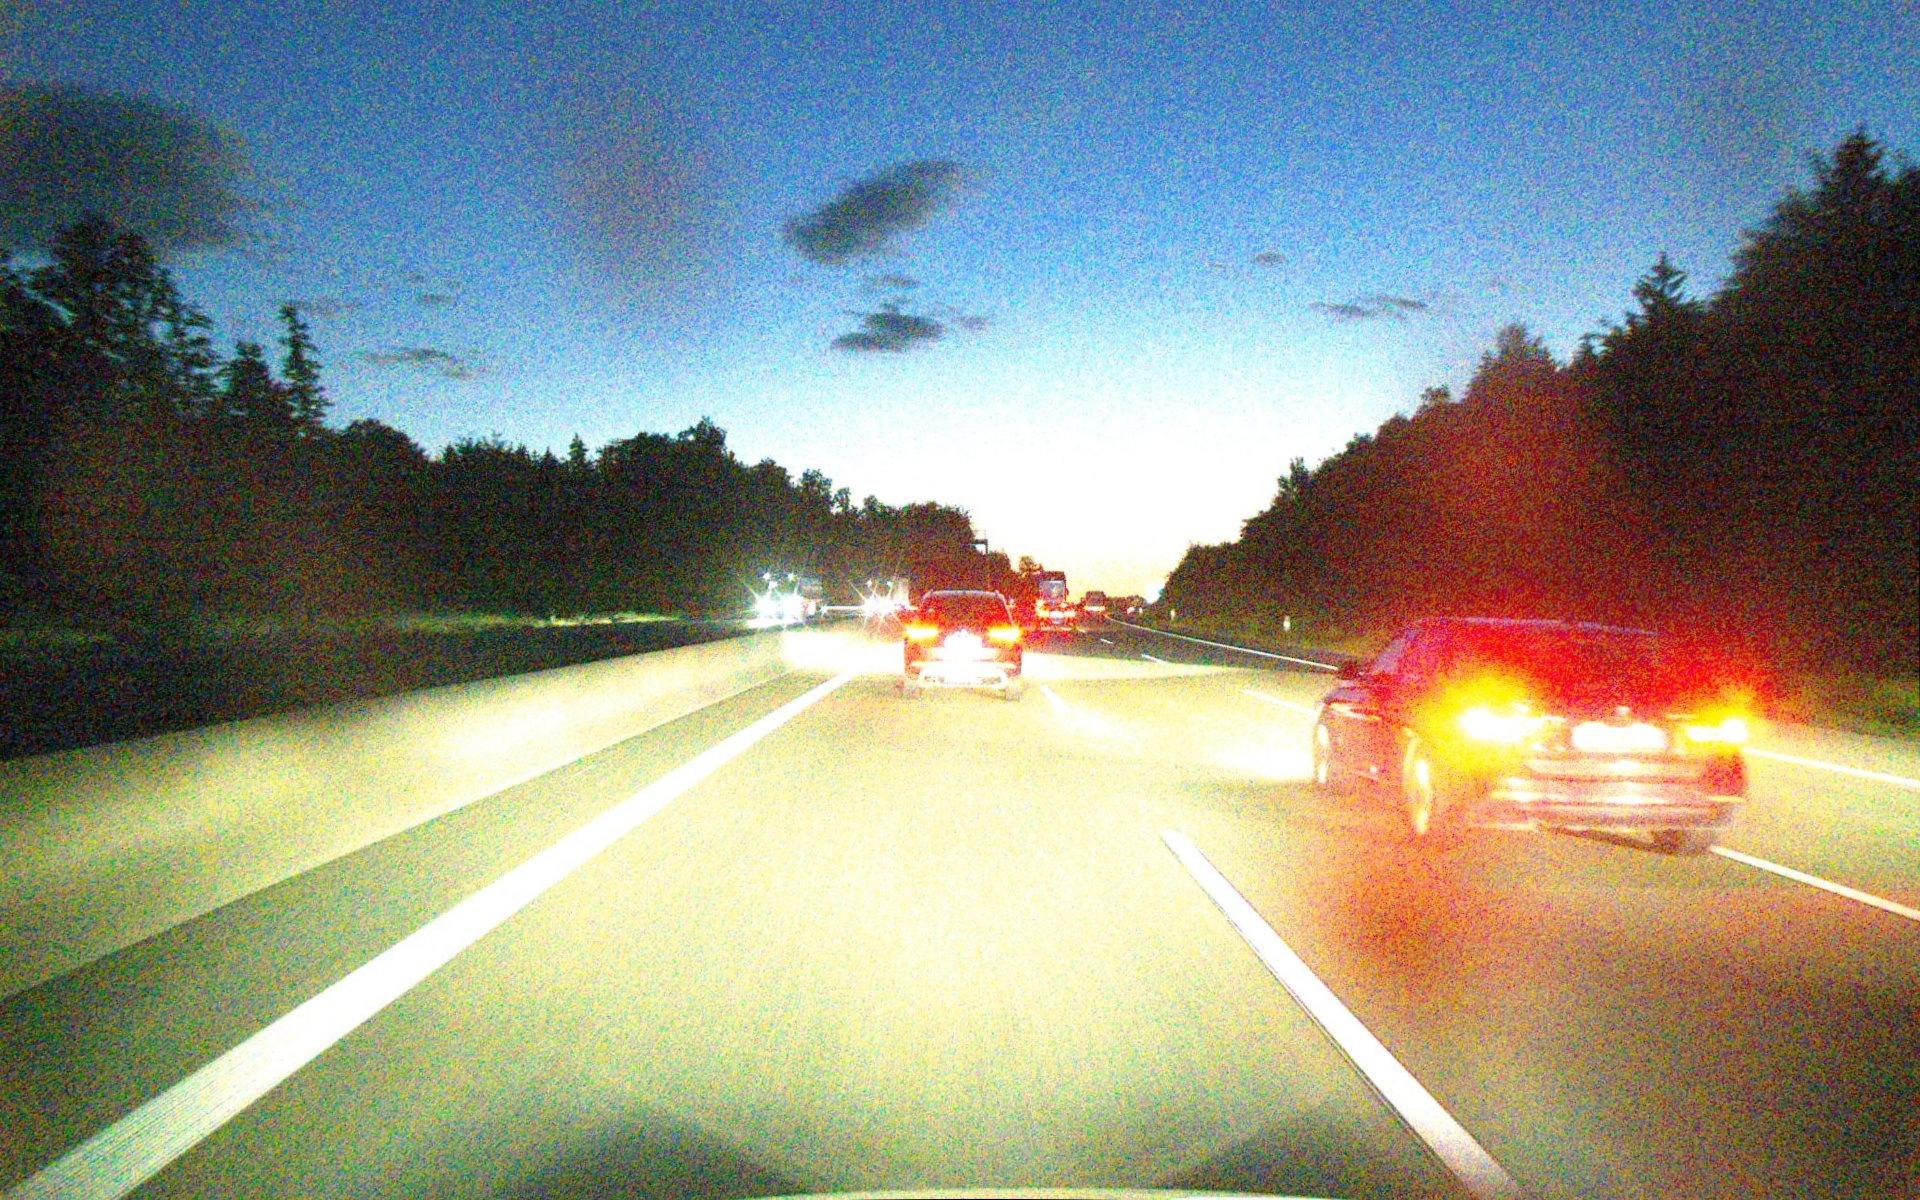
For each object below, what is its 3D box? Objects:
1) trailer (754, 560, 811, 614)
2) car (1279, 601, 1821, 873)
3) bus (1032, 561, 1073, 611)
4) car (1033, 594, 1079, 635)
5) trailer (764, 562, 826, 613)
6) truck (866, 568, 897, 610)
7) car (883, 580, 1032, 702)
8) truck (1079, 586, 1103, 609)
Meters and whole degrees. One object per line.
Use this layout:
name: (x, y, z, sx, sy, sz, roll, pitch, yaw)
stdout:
trailer: (-12.990, -0.909, 121.386, 2.993, 3.753, 7.232, 1, 0, 3)
car: (3.673, 0.742, 11.441, 1.798, 1.425, 5.067, 0, 0, -2)
bus: (8.576, -1.188, 151.902, 2.596, 4.064, 14.711, -2, -2, 7)
car: (4.393, 0.682, 76.140, 1.872, 1.760, 4.000, 3, -1, 1)
trailer: (-12.653, -0.900, 127.835, 2.993, 3.753, 11.691, 1, 0, 3)
truck: (-8.620, -1.211, 182.329, 2.793, 4.511, 6.399, 1, 0, 3)
car: (-0.002, 0.551, 25.352, 2.062, 1.646, 4.205, 1, 1, 1)
truck: (17.822, -0.348, 225.418, 2.494, 3.069, 9.051, 1, 0, -1)
